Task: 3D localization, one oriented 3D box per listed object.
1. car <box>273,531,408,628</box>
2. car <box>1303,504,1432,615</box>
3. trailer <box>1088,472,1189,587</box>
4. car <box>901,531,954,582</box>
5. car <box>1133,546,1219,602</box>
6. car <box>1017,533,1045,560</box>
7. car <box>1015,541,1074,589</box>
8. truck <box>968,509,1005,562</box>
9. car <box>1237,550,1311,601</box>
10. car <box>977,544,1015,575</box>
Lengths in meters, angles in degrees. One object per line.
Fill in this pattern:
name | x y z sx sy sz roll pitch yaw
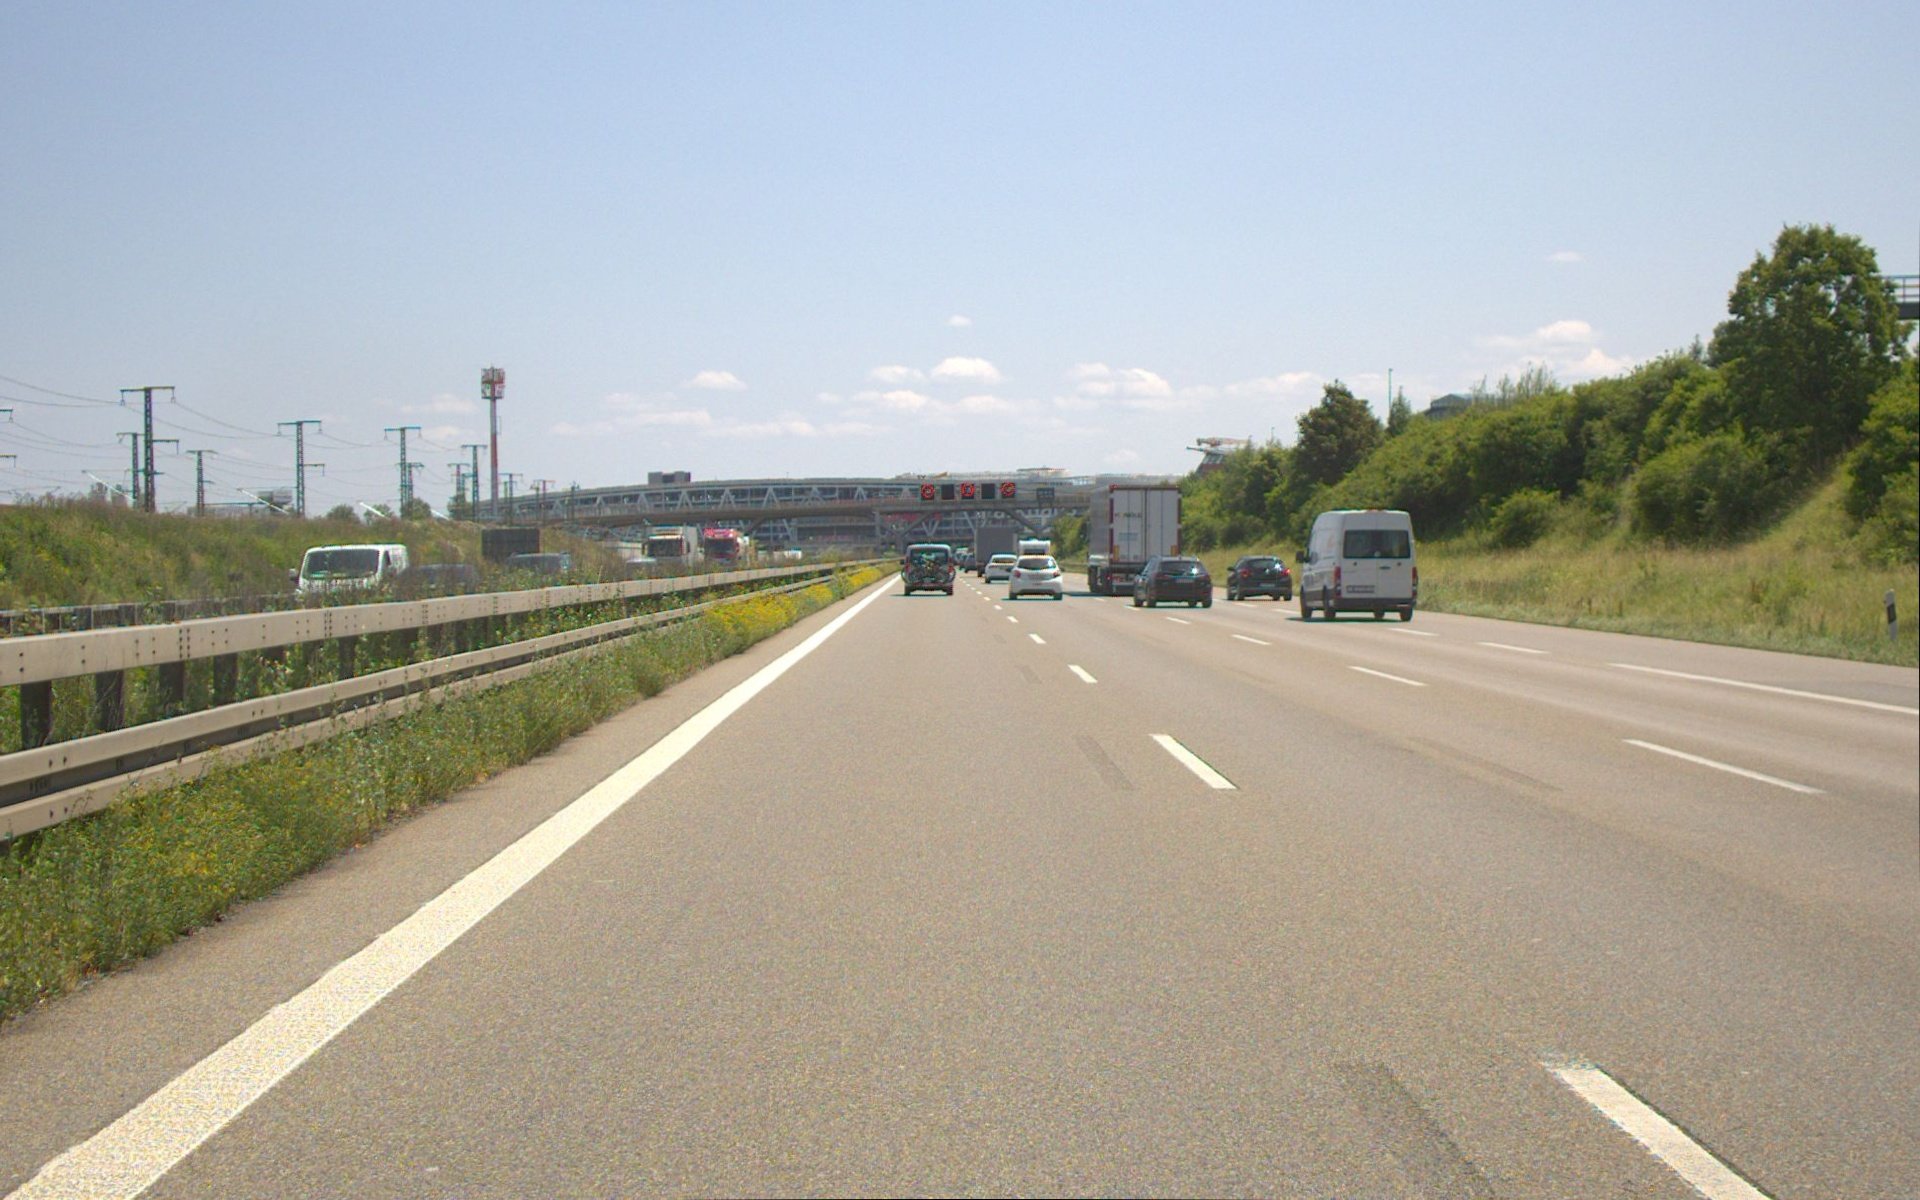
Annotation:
car | -13.163 -0.460 73.309 1.993 2.007 5.433 0 1 -1
car | 9.535 -0.962 80.896 2.274 2.519 5.400 0 1 -1
trailer | 6.557 -2.595 127.451 3.177 4.045 9.440 -1 1 0
car | -1.161 -1.542 123.726 1.881 1.769 4.000 -1 0 0
car | 6.159 -0.738 98.465 1.993 1.503 4.000 1 0 -3
car | 5.293 -3.992 256.087 1.993 2.007 4.437 -1 1 1
car | 2.795 -1.147 113.004 1.881 1.521 4.000 1 0 2
truck | 1.745 -4.224 224.908 2.355 3.404 6.057 0 1 0
car | 10.436 -0.808 114.459 1.993 1.590 4.000 1 0 -1
car | 1.853 -2.065 177.036 1.881 1.521 4.000 1 0 1
